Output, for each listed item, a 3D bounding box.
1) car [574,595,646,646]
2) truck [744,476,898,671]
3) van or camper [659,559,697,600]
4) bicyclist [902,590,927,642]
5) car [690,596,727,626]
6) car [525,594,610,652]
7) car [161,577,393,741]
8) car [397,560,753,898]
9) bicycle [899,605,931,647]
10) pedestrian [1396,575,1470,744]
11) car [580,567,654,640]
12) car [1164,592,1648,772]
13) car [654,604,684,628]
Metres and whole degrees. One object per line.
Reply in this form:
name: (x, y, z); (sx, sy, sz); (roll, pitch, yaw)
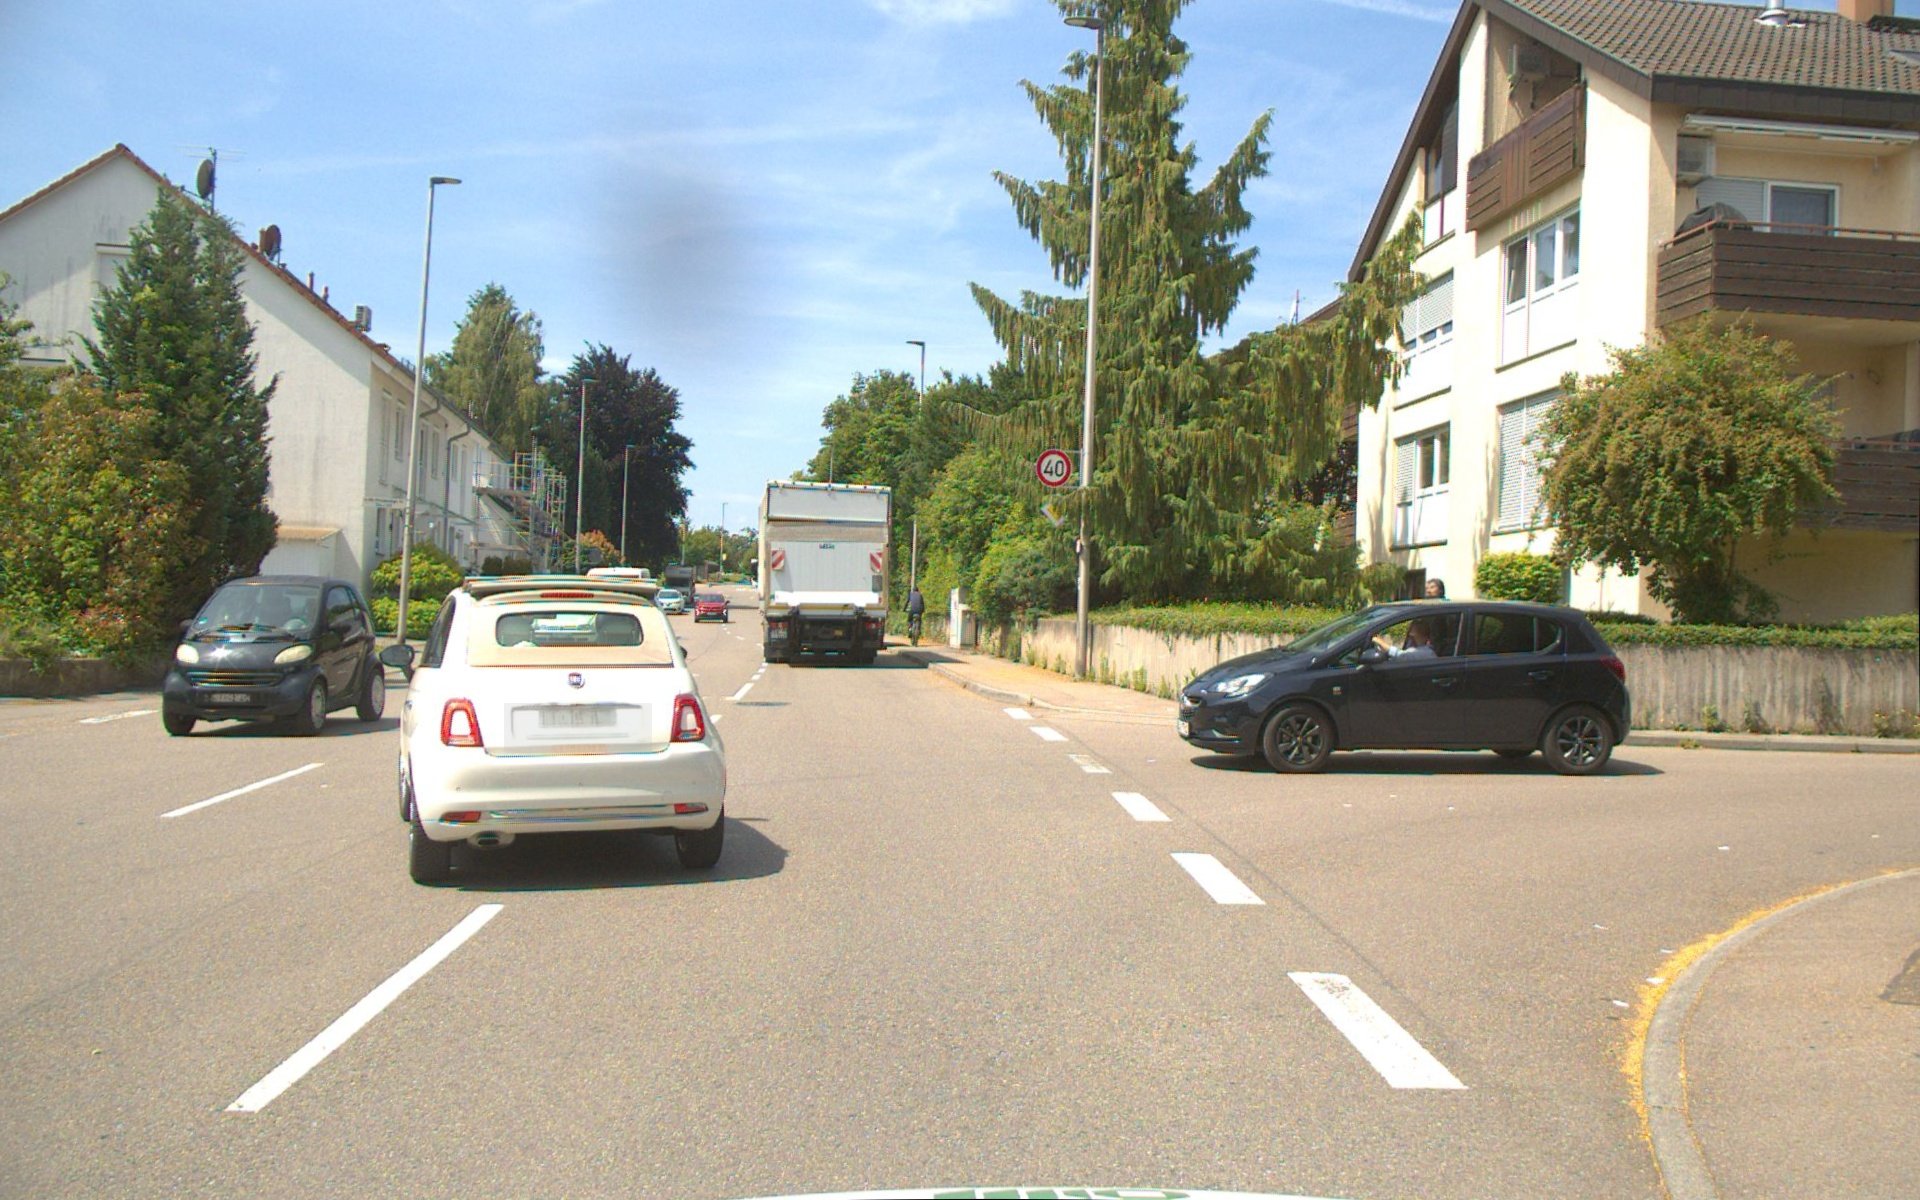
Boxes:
car: (-10.270, 0.582, 48.743); (1.771, 1.422, 3.960); (1, 0, -8)
truck: (-3.258, -0.516, 36.759); (3.010, 3.840, 7.854); (1, 0, -7)
van or camper: (-21.848, -1.559, 128.429); (2.221, 3.014, 5.883); (2, 0, -4)
bicyclist: (-1.292, 0.441, 46.950); (0.577, 1.437, 0.741); (2, 0, -6)
car: (-13.620, 0.591, 89.754); (1.798, 1.561, 3.994); (2, 0, -7)
car: (-10.124, 0.560, 42.888); (1.771, 1.422, 3.993); (1, 0, -8)
car: (-6.933, 0.552, 17.045); (1.451, 1.536, 2.797); (0, 0, -6)
car: (-2.478, 0.607, 9.934); (1.699, 1.587, 3.978); (0, 0, -19)
bicycle: (-1.289, 0.725, 47.063); (0.655, 1.123, 2.422); (2, 0, -7)
pedestrian: (4.916, 0.598, 17.176); (0.681, 1.701, 0.570); (2, 0, 17)
car: (-11.188, 0.105, 54.320); (1.999, 2.238, 5.572); (1, 0, -8)
car: (3.876, 0.692, 14.766); (3.854, 1.483, 1.658); (1, 0, -3)
car: (-18.529, 1.005, 105.400); (1.447, 1.520, 3.079); (1, 0, -2)
